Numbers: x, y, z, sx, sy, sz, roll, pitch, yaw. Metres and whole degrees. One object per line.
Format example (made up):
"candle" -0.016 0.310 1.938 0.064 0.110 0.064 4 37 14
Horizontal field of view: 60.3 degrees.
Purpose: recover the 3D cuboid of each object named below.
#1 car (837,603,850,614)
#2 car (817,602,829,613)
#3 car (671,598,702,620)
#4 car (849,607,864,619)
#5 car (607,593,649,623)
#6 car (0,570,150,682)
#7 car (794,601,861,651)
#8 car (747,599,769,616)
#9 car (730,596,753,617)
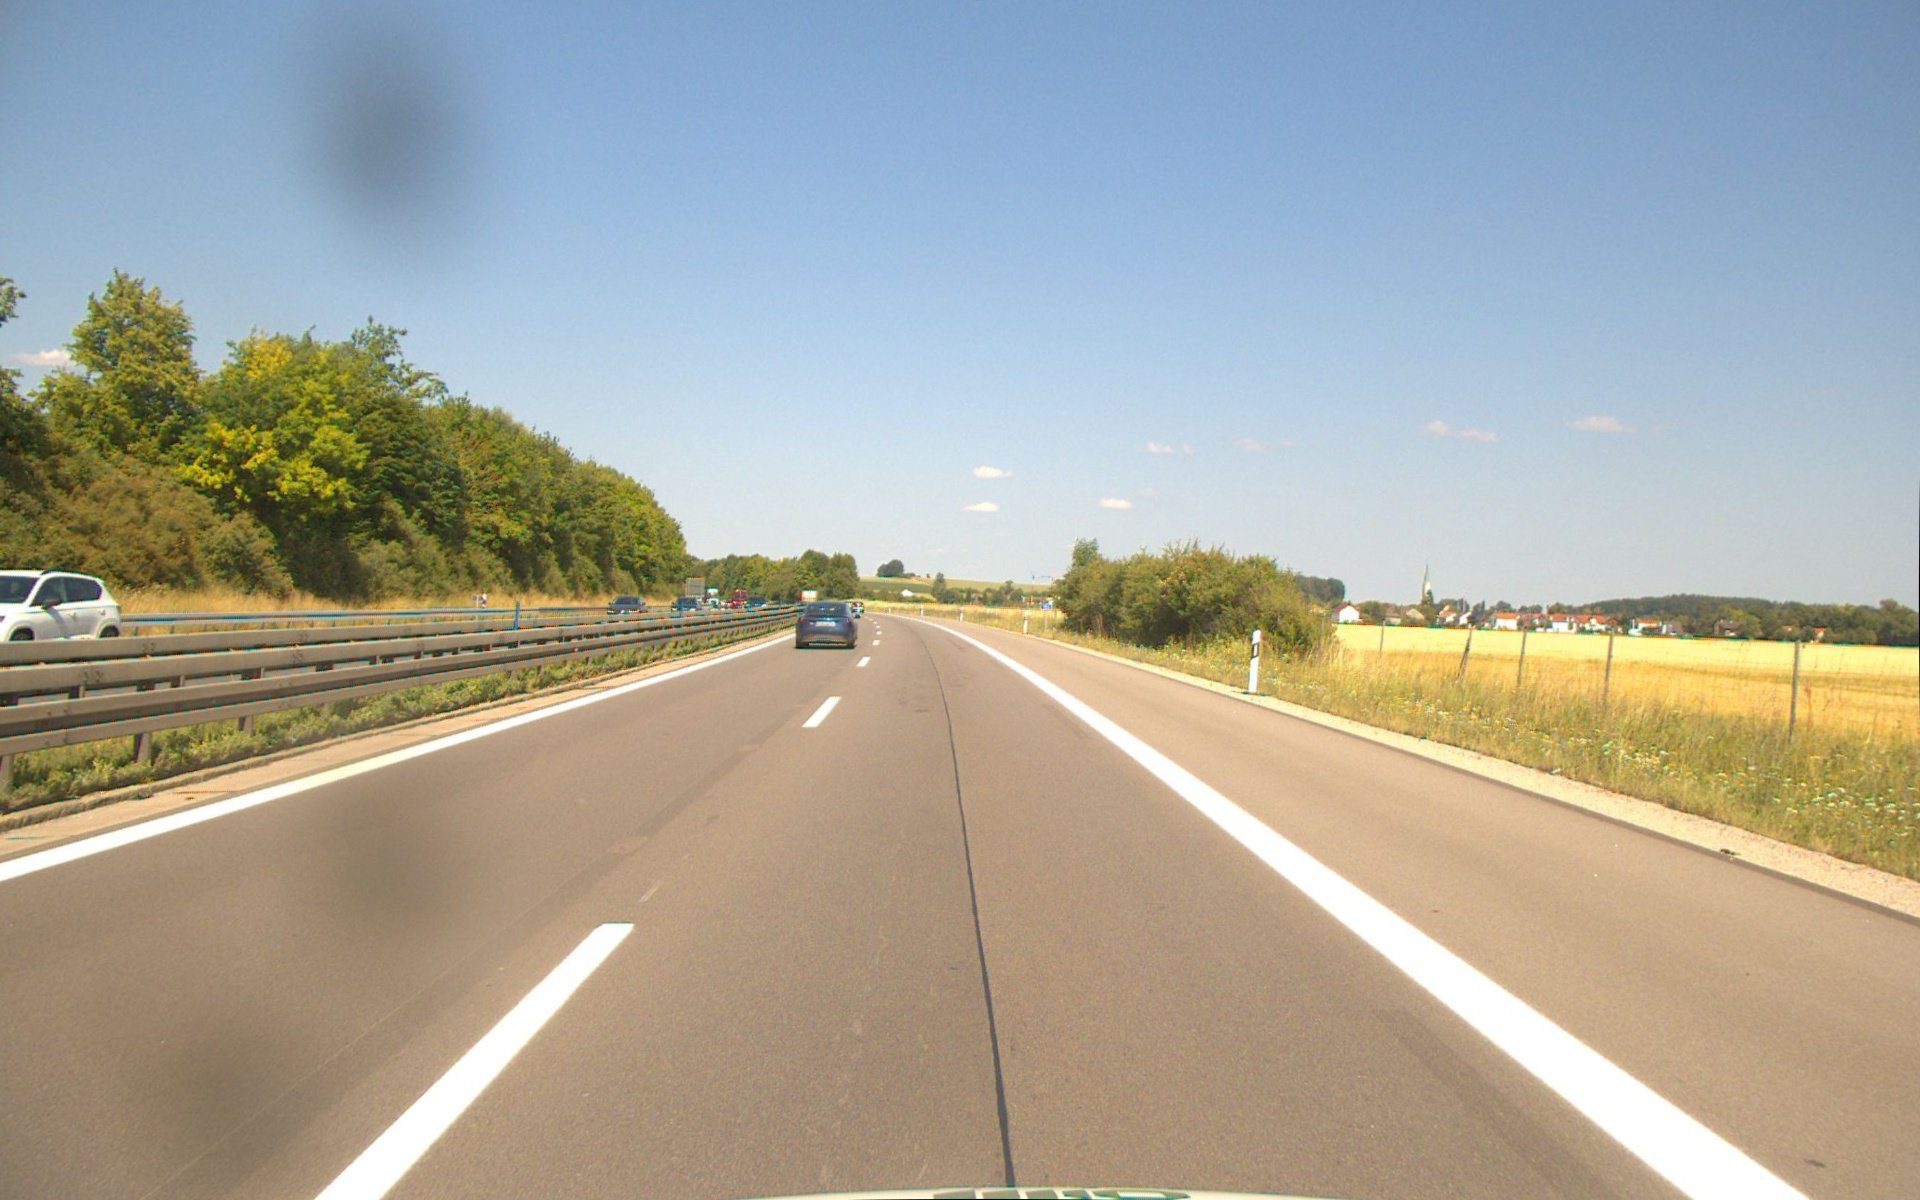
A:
"car" -17.054 1.251 241.923 1.644 1.479 3.586 1 0 -7
"car" -19.207 1.077 231.999 1.643 1.479 3.588 1 0 -5
"car" -18.781 0.610 113.600 1.629 1.447 3.998 1 0 -3
"car" -13.029 1.658 207.910 1.643 1.479 3.588 1 0 -5
"car" -17.389 0.408 86.784 1.547 1.487 4.150 1 0 -3
"car" -14.587 0.343 25.775 1.716 1.592 4.579 2 0 -1
"car" -4.165 0.782 52.647 1.810 1.458 5.864 1 0 -2
"car" -17.850 0.652 146.277 1.629 1.447 3.998 1 0 -3
"car" -28.511 0.797 216.263 2.494 2.640 6.587 2 0 -4
